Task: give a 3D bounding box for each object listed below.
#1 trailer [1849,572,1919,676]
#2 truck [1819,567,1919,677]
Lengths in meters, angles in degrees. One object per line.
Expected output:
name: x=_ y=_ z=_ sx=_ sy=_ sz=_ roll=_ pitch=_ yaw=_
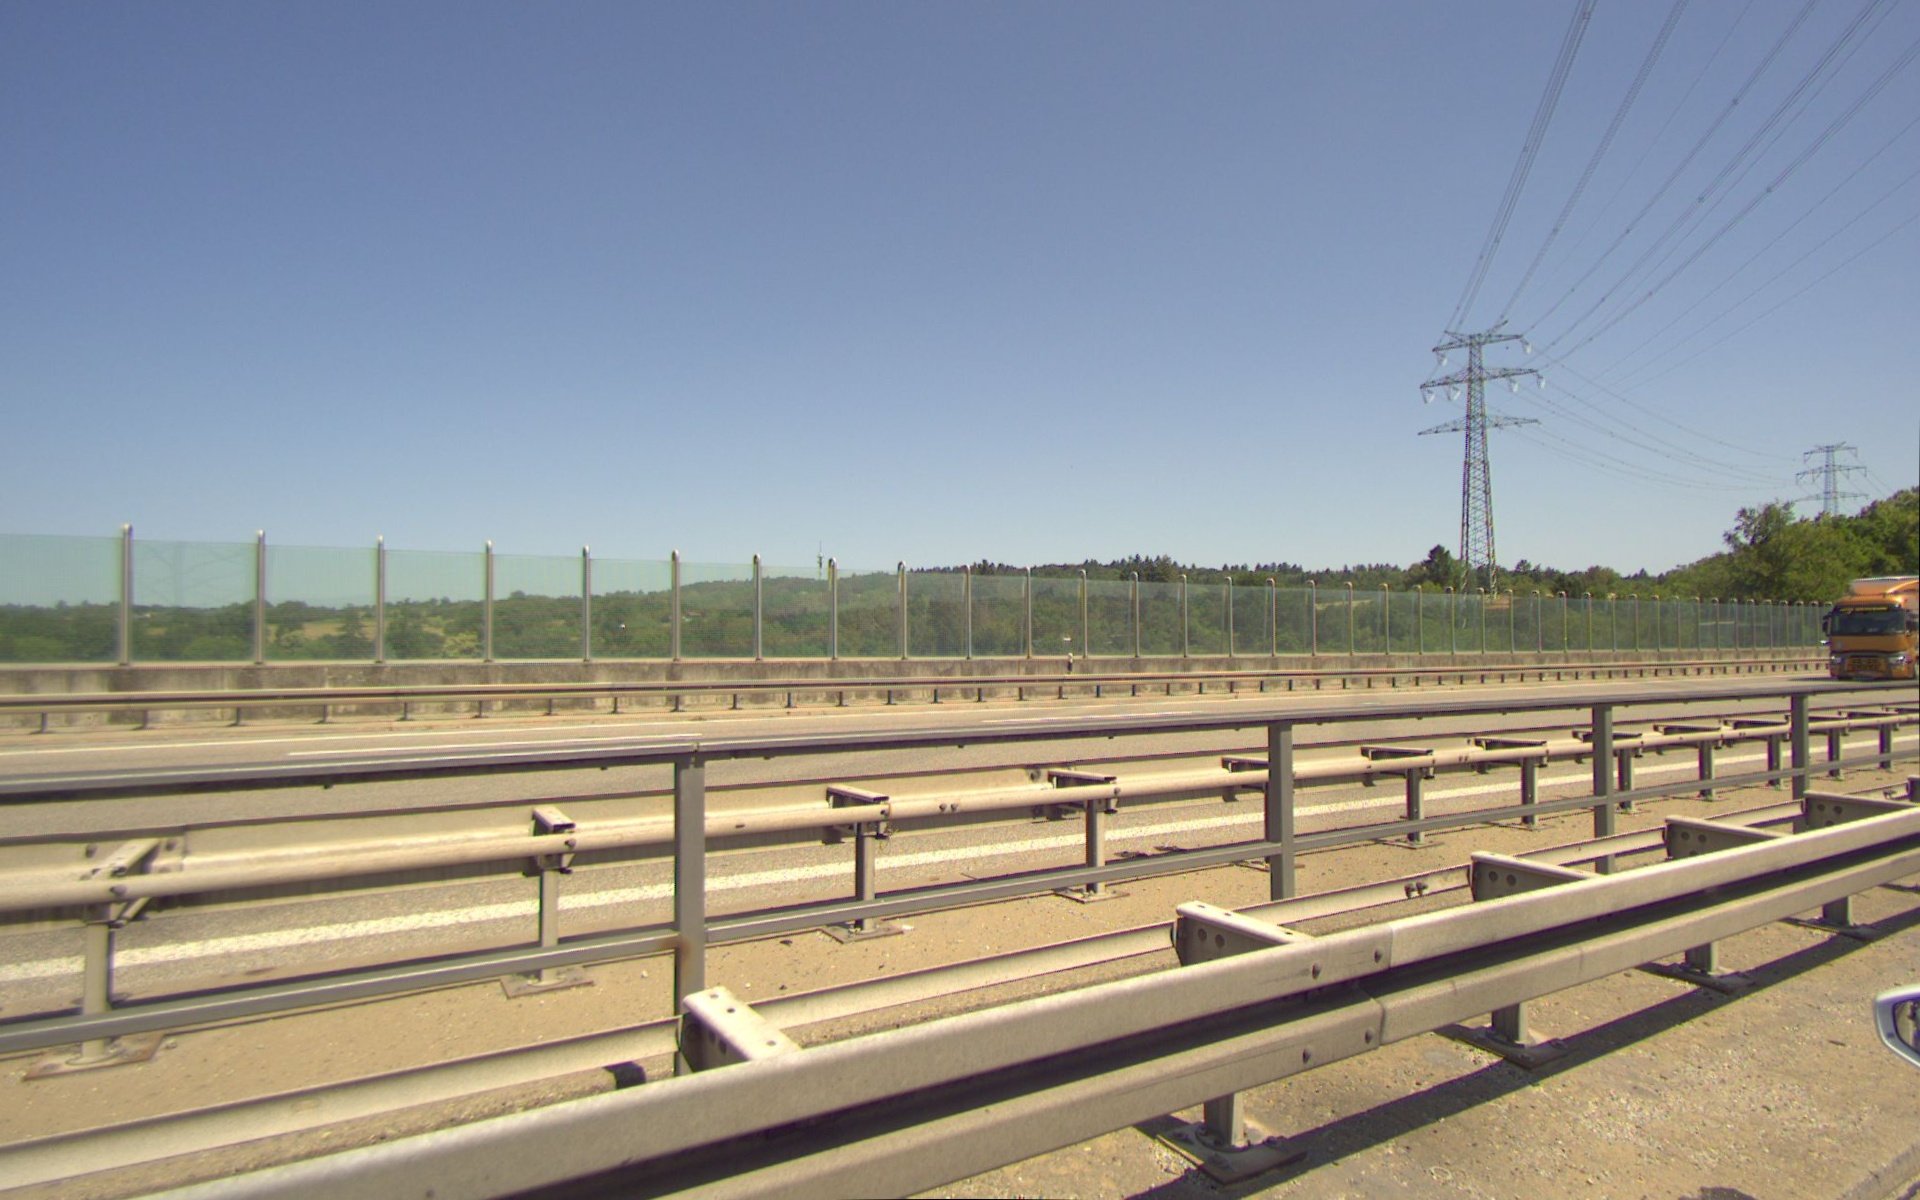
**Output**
trailer: x=43.920 y=1.161 z=44.651 sx=13.855 sy=4.168 sz=2.615 roll=2 pitch=-1 yaw=-31
truck: x=38.182 y=0.962 z=41.211 sx=6.215 sy=4.240 sz=2.659 roll=2 pitch=-2 yaw=-31
